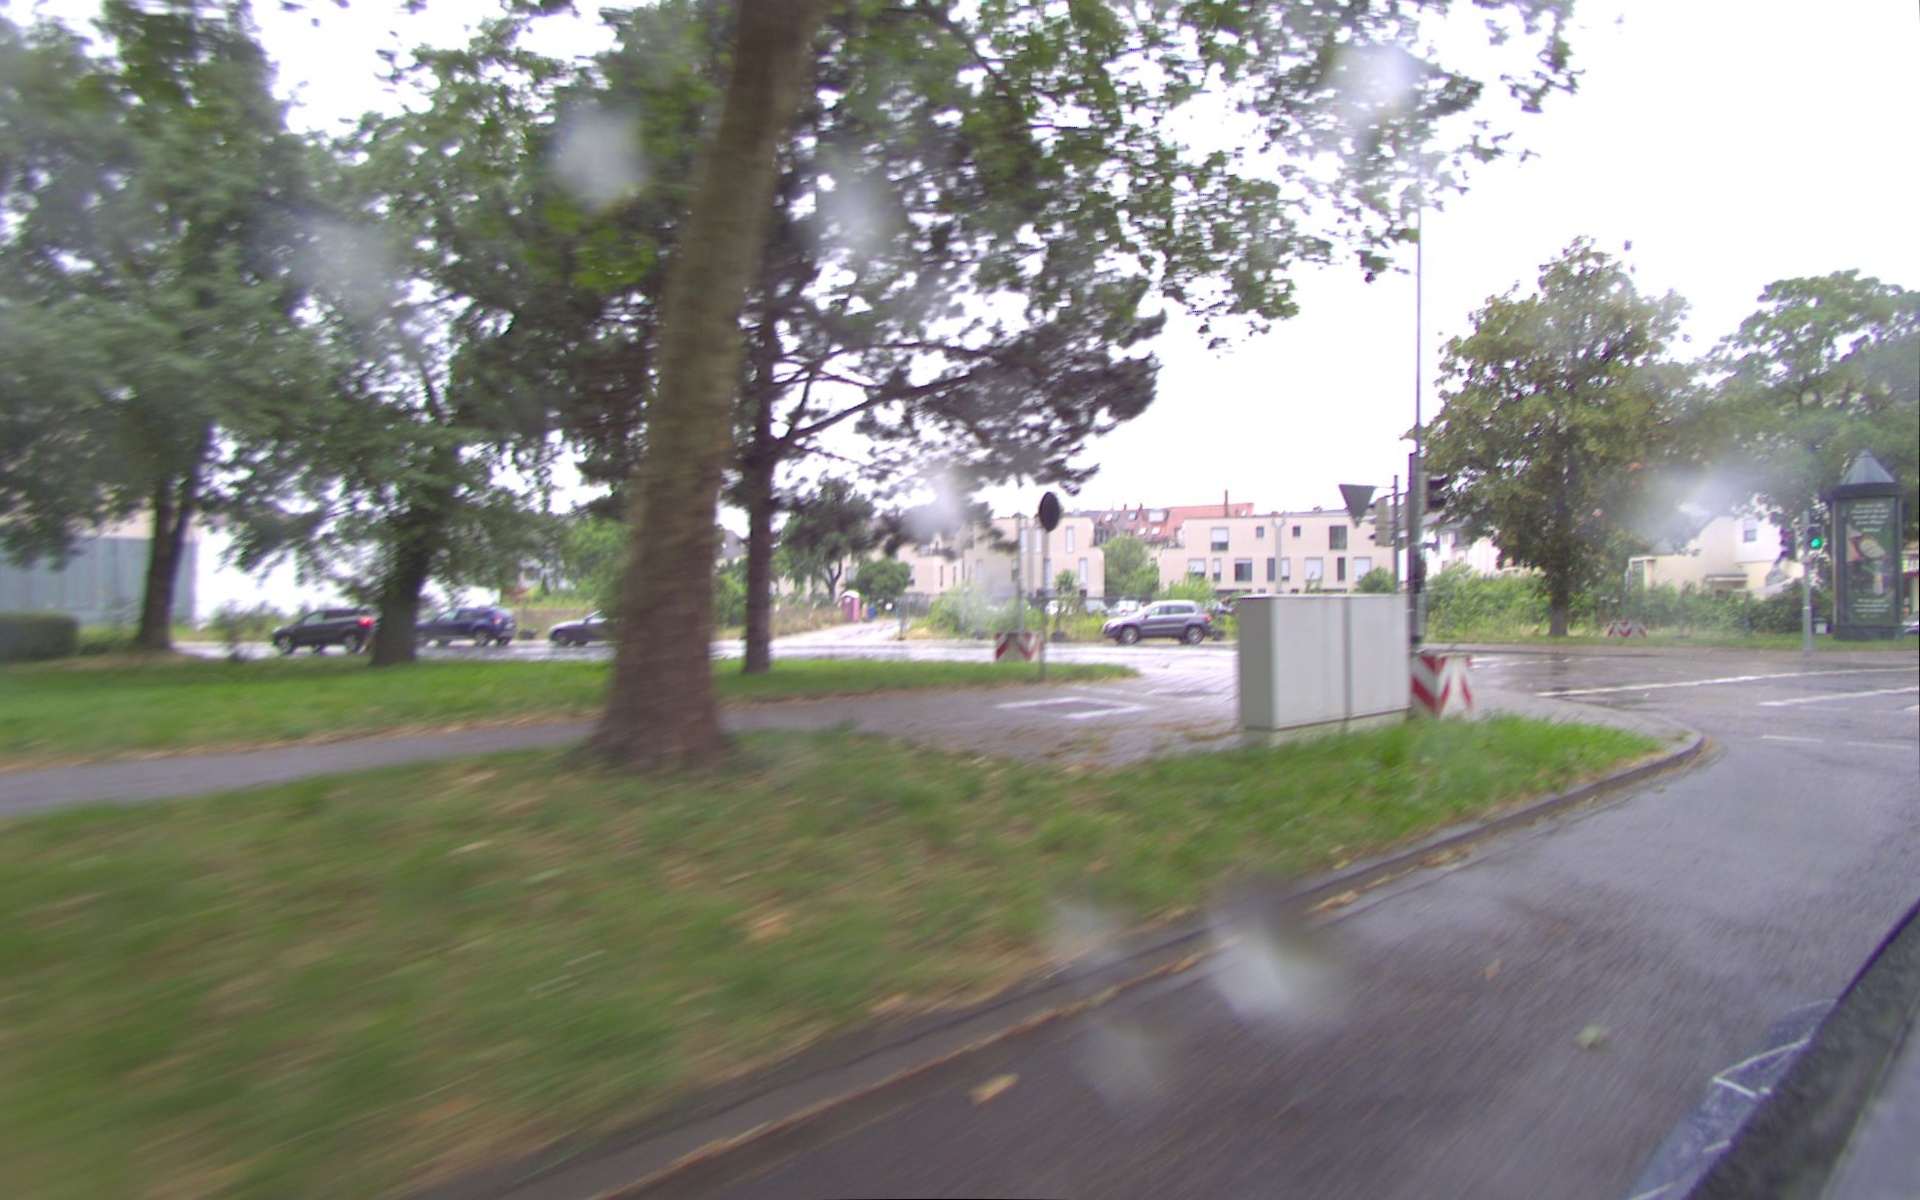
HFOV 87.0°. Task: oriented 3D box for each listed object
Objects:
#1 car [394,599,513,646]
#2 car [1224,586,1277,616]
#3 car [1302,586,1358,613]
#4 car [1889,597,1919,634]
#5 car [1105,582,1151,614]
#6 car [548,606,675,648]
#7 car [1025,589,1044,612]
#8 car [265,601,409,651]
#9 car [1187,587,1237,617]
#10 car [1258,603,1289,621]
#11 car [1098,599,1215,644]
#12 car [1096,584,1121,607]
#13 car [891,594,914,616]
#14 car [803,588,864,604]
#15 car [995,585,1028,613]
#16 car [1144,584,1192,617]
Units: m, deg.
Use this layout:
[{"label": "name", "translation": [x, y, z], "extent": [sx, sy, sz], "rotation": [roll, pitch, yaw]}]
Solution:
[{"label": "car", "translation": [-20.811, 0.926, 41.696], "extent": [4.015, 1.833, 1.879], "rotation": [-1, -1, 5]}, {"label": "car", "translation": [19.165, 0.109, 66.916], "extent": [1.960, 1.883, 4.004], "rotation": [-1, -1, -6]}, {"label": "car", "translation": [24.395, -0.034, 66.826], "extent": [1.871, 1.705, 4.003], "rotation": [-1, -1, -5]}, {"label": "car", "translation": [40.380, 0.594, 41.017], "extent": [4.073, 1.452, 1.705], "rotation": [-1, -1, -6]}, {"label": "car", "translation": [10.992, -0.095, 66.427], "extent": [1.960, 2.039, 4.003], "rotation": [-1, -1, -5]}, {"label": "car", "translation": [-14.078, 1.083, 41.045], "extent": [4.449, 1.568, 1.978], "rotation": [-1, -1, 5]}, {"label": "car", "translation": [6.721, 0.059, 91.364], "extent": [1.641, 1.938, 3.995], "rotation": [-1, -1, 4]}, {"label": "car", "translation": [-23.239, 0.959, 37.843], "extent": [4.228, 1.766, 1.997], "rotation": [-1, -1, 4]}, {"label": "car", "translation": [16.580, 0.148, 66.838], "extent": [1.960, 1.883, 4.004], "rotation": [-1, -1, -6]}, {"label": "car", "translation": [24.472, 0.934, 79.017], "extent": [1.738, 1.360, 4.080], "rotation": [-1, -1, 10]}, {"label": "car", "translation": [7.749, 0.842, 40.170], "extent": [4.224, 1.676, 1.859], "rotation": [-1, -1, 1]}, {"label": "car", "translation": [13.190, -0.371, 90.082], "extent": [1.964, 2.039, 3.995], "rotation": [-1, -1, 4]}, {"label": "car", "translation": [-5.301, 0.491, 93.321], "extent": [1.641, 1.938, 3.995], "rotation": [-1, -1, 4]}, {"label": "car", "translation": [-9.622, -0.275, 77.069], "extent": [4.334, 1.150, 1.761], "rotation": [-1, -1, 14]}, {"label": "car", "translation": [3.889, -0.041, 77.367], "extent": [1.960, 2.039, 4.003], "rotation": [-1, -1, -5]}, {"label": "car", "translation": [13.647, 0.058, 66.732], "extent": [1.960, 2.039, 4.003], "rotation": [-1, -1, -5]}]
